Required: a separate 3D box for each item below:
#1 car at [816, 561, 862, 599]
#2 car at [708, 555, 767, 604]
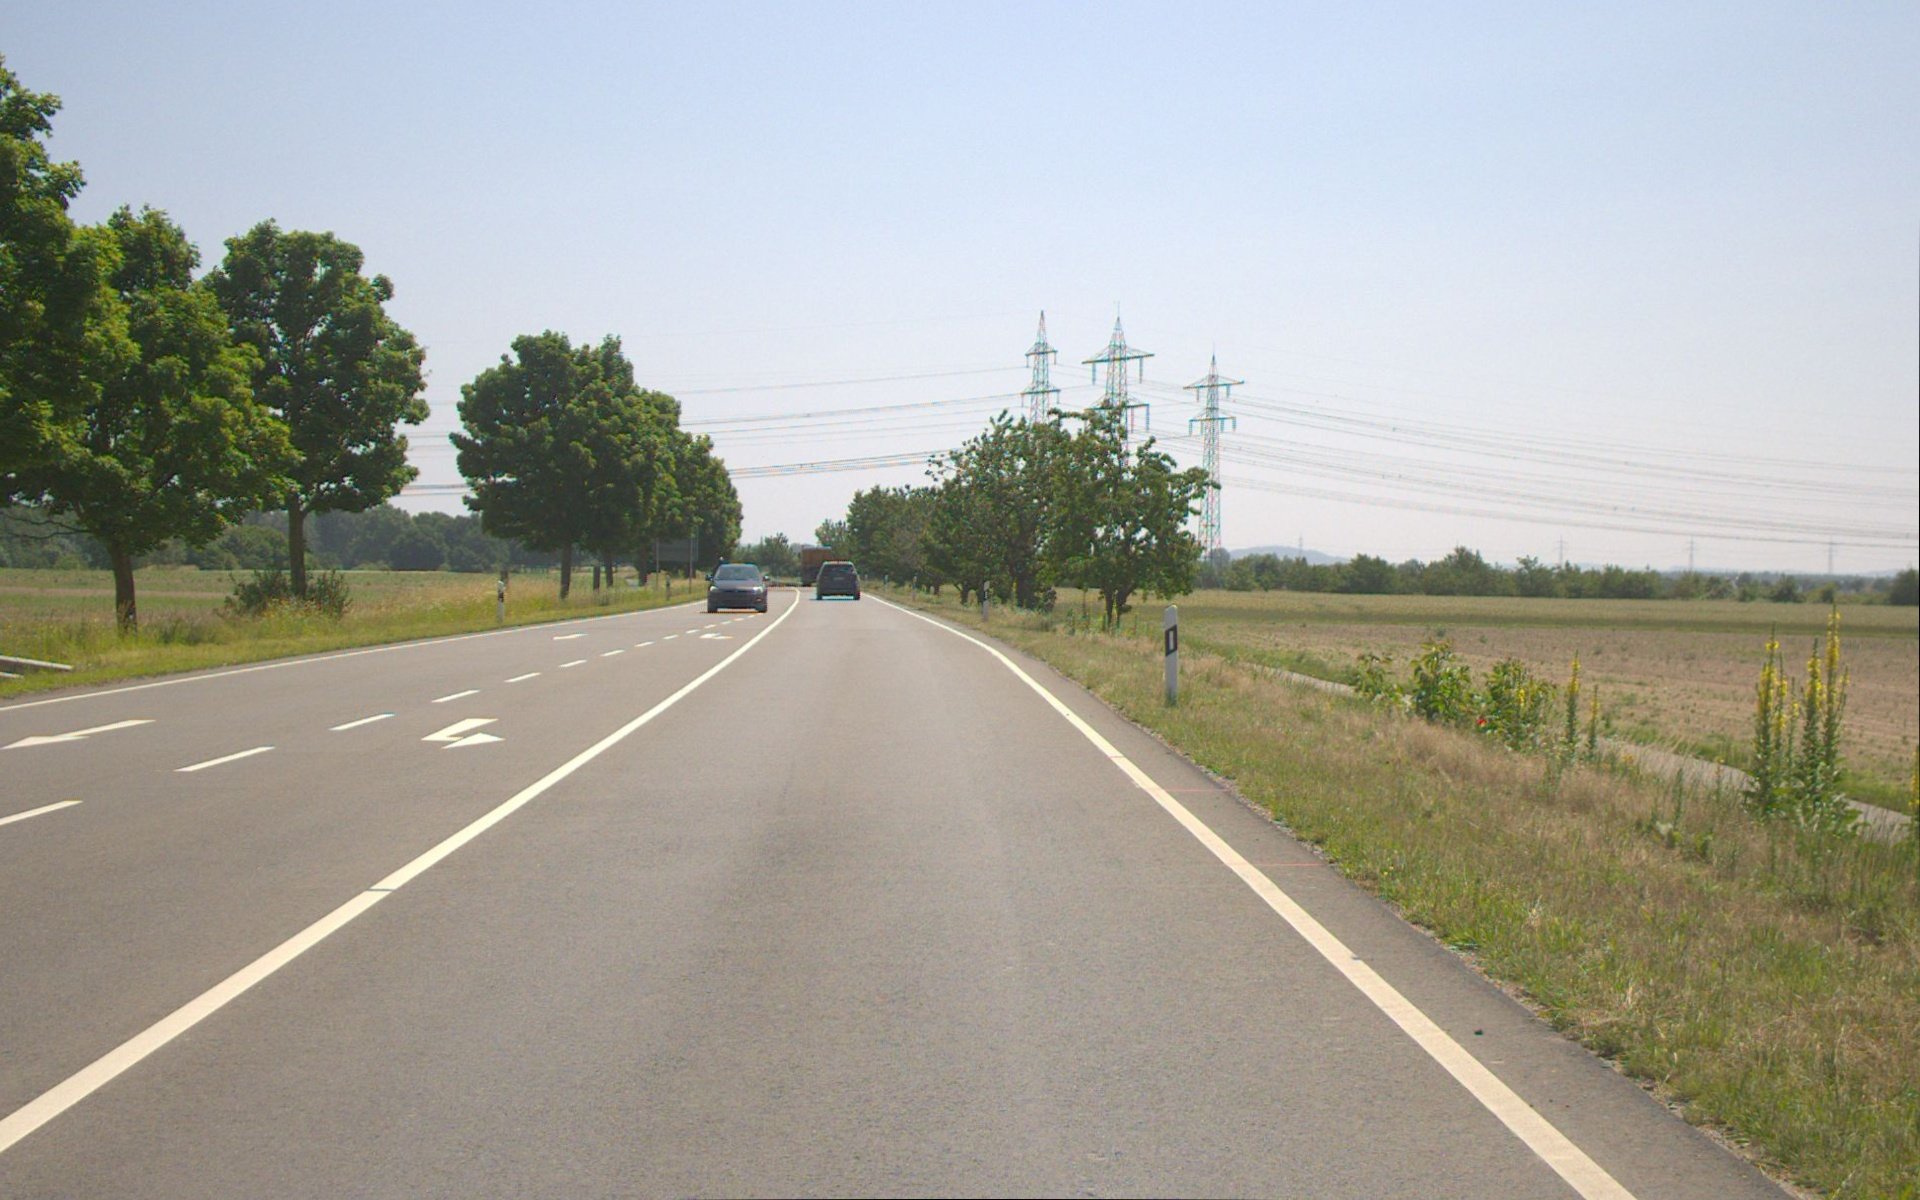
[{"bbox_3d":[-5.318,-0.895,150.862,1.884,1.513,4.040,3,1,-3],"label":"car"},{"bbox_3d":[-6.805,-0.644,105.460,1.739,1.468,4.619,0,1,-3],"label":"car"}]
